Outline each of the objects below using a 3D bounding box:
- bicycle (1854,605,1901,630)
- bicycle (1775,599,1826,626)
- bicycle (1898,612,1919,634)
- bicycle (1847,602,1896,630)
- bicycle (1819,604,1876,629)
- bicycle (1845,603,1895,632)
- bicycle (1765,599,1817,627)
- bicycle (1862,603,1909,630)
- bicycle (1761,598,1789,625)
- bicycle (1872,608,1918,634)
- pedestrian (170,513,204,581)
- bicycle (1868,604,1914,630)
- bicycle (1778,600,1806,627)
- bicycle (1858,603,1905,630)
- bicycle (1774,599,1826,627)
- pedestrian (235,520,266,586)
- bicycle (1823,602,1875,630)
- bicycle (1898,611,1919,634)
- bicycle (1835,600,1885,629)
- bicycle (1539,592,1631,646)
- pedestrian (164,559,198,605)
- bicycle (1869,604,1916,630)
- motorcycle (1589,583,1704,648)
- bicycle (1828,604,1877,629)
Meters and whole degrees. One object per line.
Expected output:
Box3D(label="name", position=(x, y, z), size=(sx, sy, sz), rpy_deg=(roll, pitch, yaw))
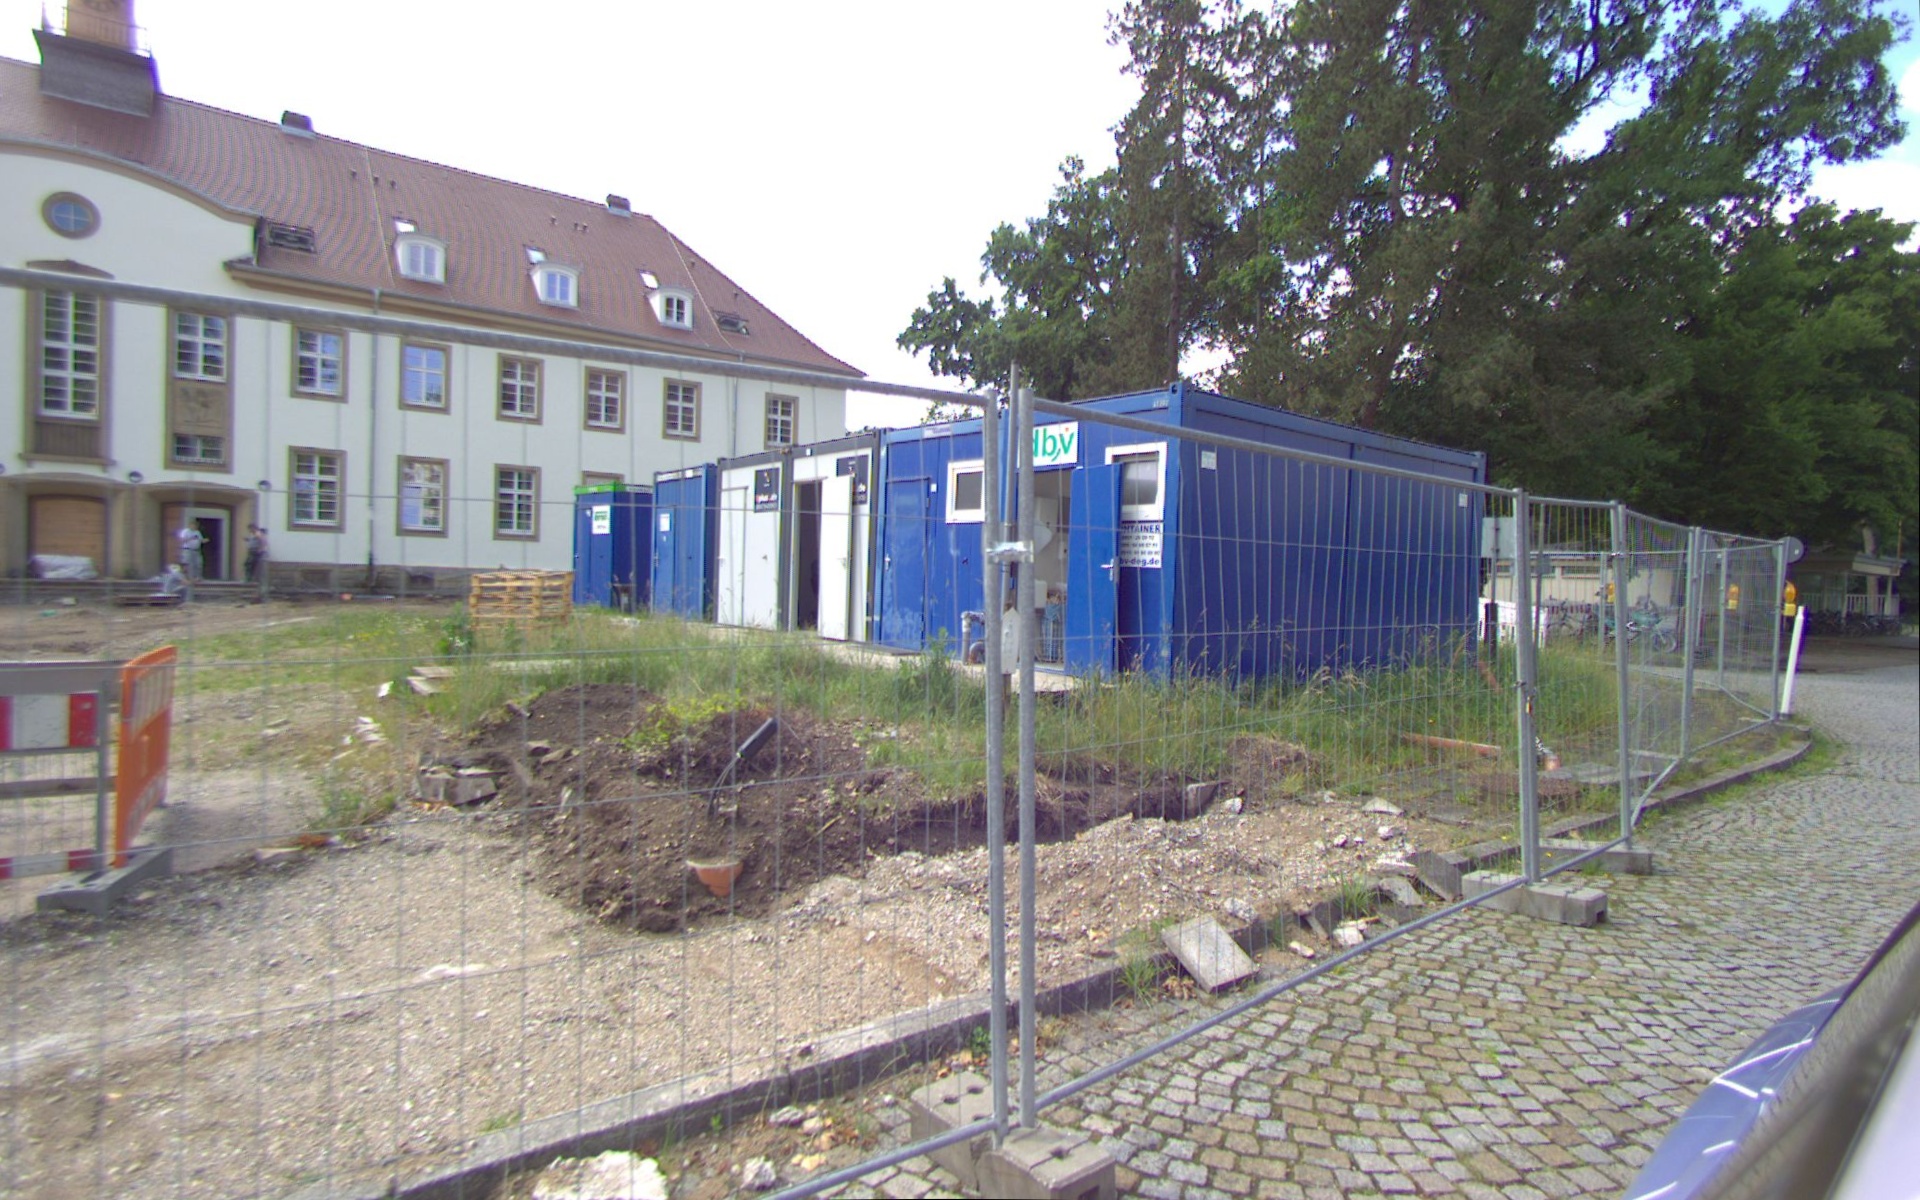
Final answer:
Box3D(label="bicycle", position=(44.125, 0.815, 48.691), size=(0.320, 1.062, 1.593), rpy_deg=(1, 3, -45))
Box3D(label="bicycle", position=(40.379, 0.593, 48.634), size=(0.598, 1.179, 1.744), rpy_deg=(1, 3, -41))
Box3D(label="bicycle", position=(47.934, 1.148, 50.615), size=(1.392, 1.059, 0.336), rpy_deg=(2, 1, 26))
Box3D(label="bicycle", position=(43.201, 0.732, 47.993), size=(1.628, 1.204, 0.492), rpy_deg=(5, 3, 40))
Box3D(label="bicycle", position=(40.419, 0.743, 46.126), size=(1.727, 0.988, 0.753), rpy_deg=(4, 3, 23))
Box3D(label="bicycle", position=(42.378, 0.794, 47.159), size=(1.628, 1.204, 0.413), rpy_deg=(5, 3, 40))
Box3D(label="bicycle", position=(38.907, 0.588, 47.412), size=(0.598, 1.179, 1.744), rpy_deg=(1, 3, -41))
Box3D(label="bicycle", position=(45.058, 0.798, 49.282), size=(0.320, 1.155, 1.614), rpy_deg=(1, 3, -45))
Box3D(label="bicycle", position=(36.580, 0.523, 45.441), size=(1.605, 1.130, 0.598), rpy_deg=(1, 3, -39))
Box3D(label="bicycle", position=(46.626, 1.057, 50.484), size=(0.350, 1.155, 1.614), rpy_deg=(1, 3, -45))
Box3D(label="pedestrian", position=(-21.666, -1.479, 28.368), size=(0.721, 1.857, 0.646), rpy_deg=(1, 1, -40))
Box3D(label="bicycle", position=(46.098, 0.833, 50.122), size=(0.350, 1.155, 1.614), rpy_deg=(1, 3, -45))
Box3D(label="bicycle", position=(36.987, 0.587, 44.963), size=(1.605, 1.130, 0.598), rpy_deg=(1, 3, -39))
Box3D(label="bicycle", position=(44.519, 0.796, 48.903), size=(0.320, 1.155, 1.593), rpy_deg=(1, 3, -45))
Box3D(label="bicycle", position=(39.781, 0.594, 47.930), size=(0.598, 1.179, 1.744), rpy_deg=(1, 3, -41))
Box3D(label="pedestrian", position=(-20.404, -1.350, 29.103), size=(0.635, 1.857, 0.877), rpy_deg=(1, 1, -41))
Box3D(label="bicycle", position=(39.905, 0.709, 45.432), size=(1.674, 1.121, 0.333), rpy_deg=(5, 3, 39))
Box3D(label="bicycle", position=(47.494, 1.122, 50.358), size=(1.145, 1.076, 0.284), rpy_deg=(2, 1, 32))
Box3D(label="bicycle", position=(41.679, 0.664, 46.894), size=(1.628, 1.204, 0.467), rpy_deg=(5, 3, 39))
Box3D(label="bicycle", position=(15.418, 0.454, 25.023), size=(0.642, 1.212, 1.909), rpy_deg=(2, 2, -18))
Box3D(label="pedestrian", position=(-20.943, -0.485, 27.212), size=(0.709, 1.225, 0.669), rpy_deg=(1, 1, -37))
Box3D(label="bicycle", position=(45.779, 0.823, 49.706), size=(0.320, 1.155, 1.614), rpy_deg=(1, 3, -45))
Box3D(label="motorcycle", position=(17.597, 0.361, 25.980), size=(0.744, 1.503, 2.280), rpy_deg=(1, 2, -42))
Box3D(label="bicycle", position=(41.031, 0.749, 46.548), size=(1.617, 0.988, 0.320), rpy_deg=(4, 2, 23))
